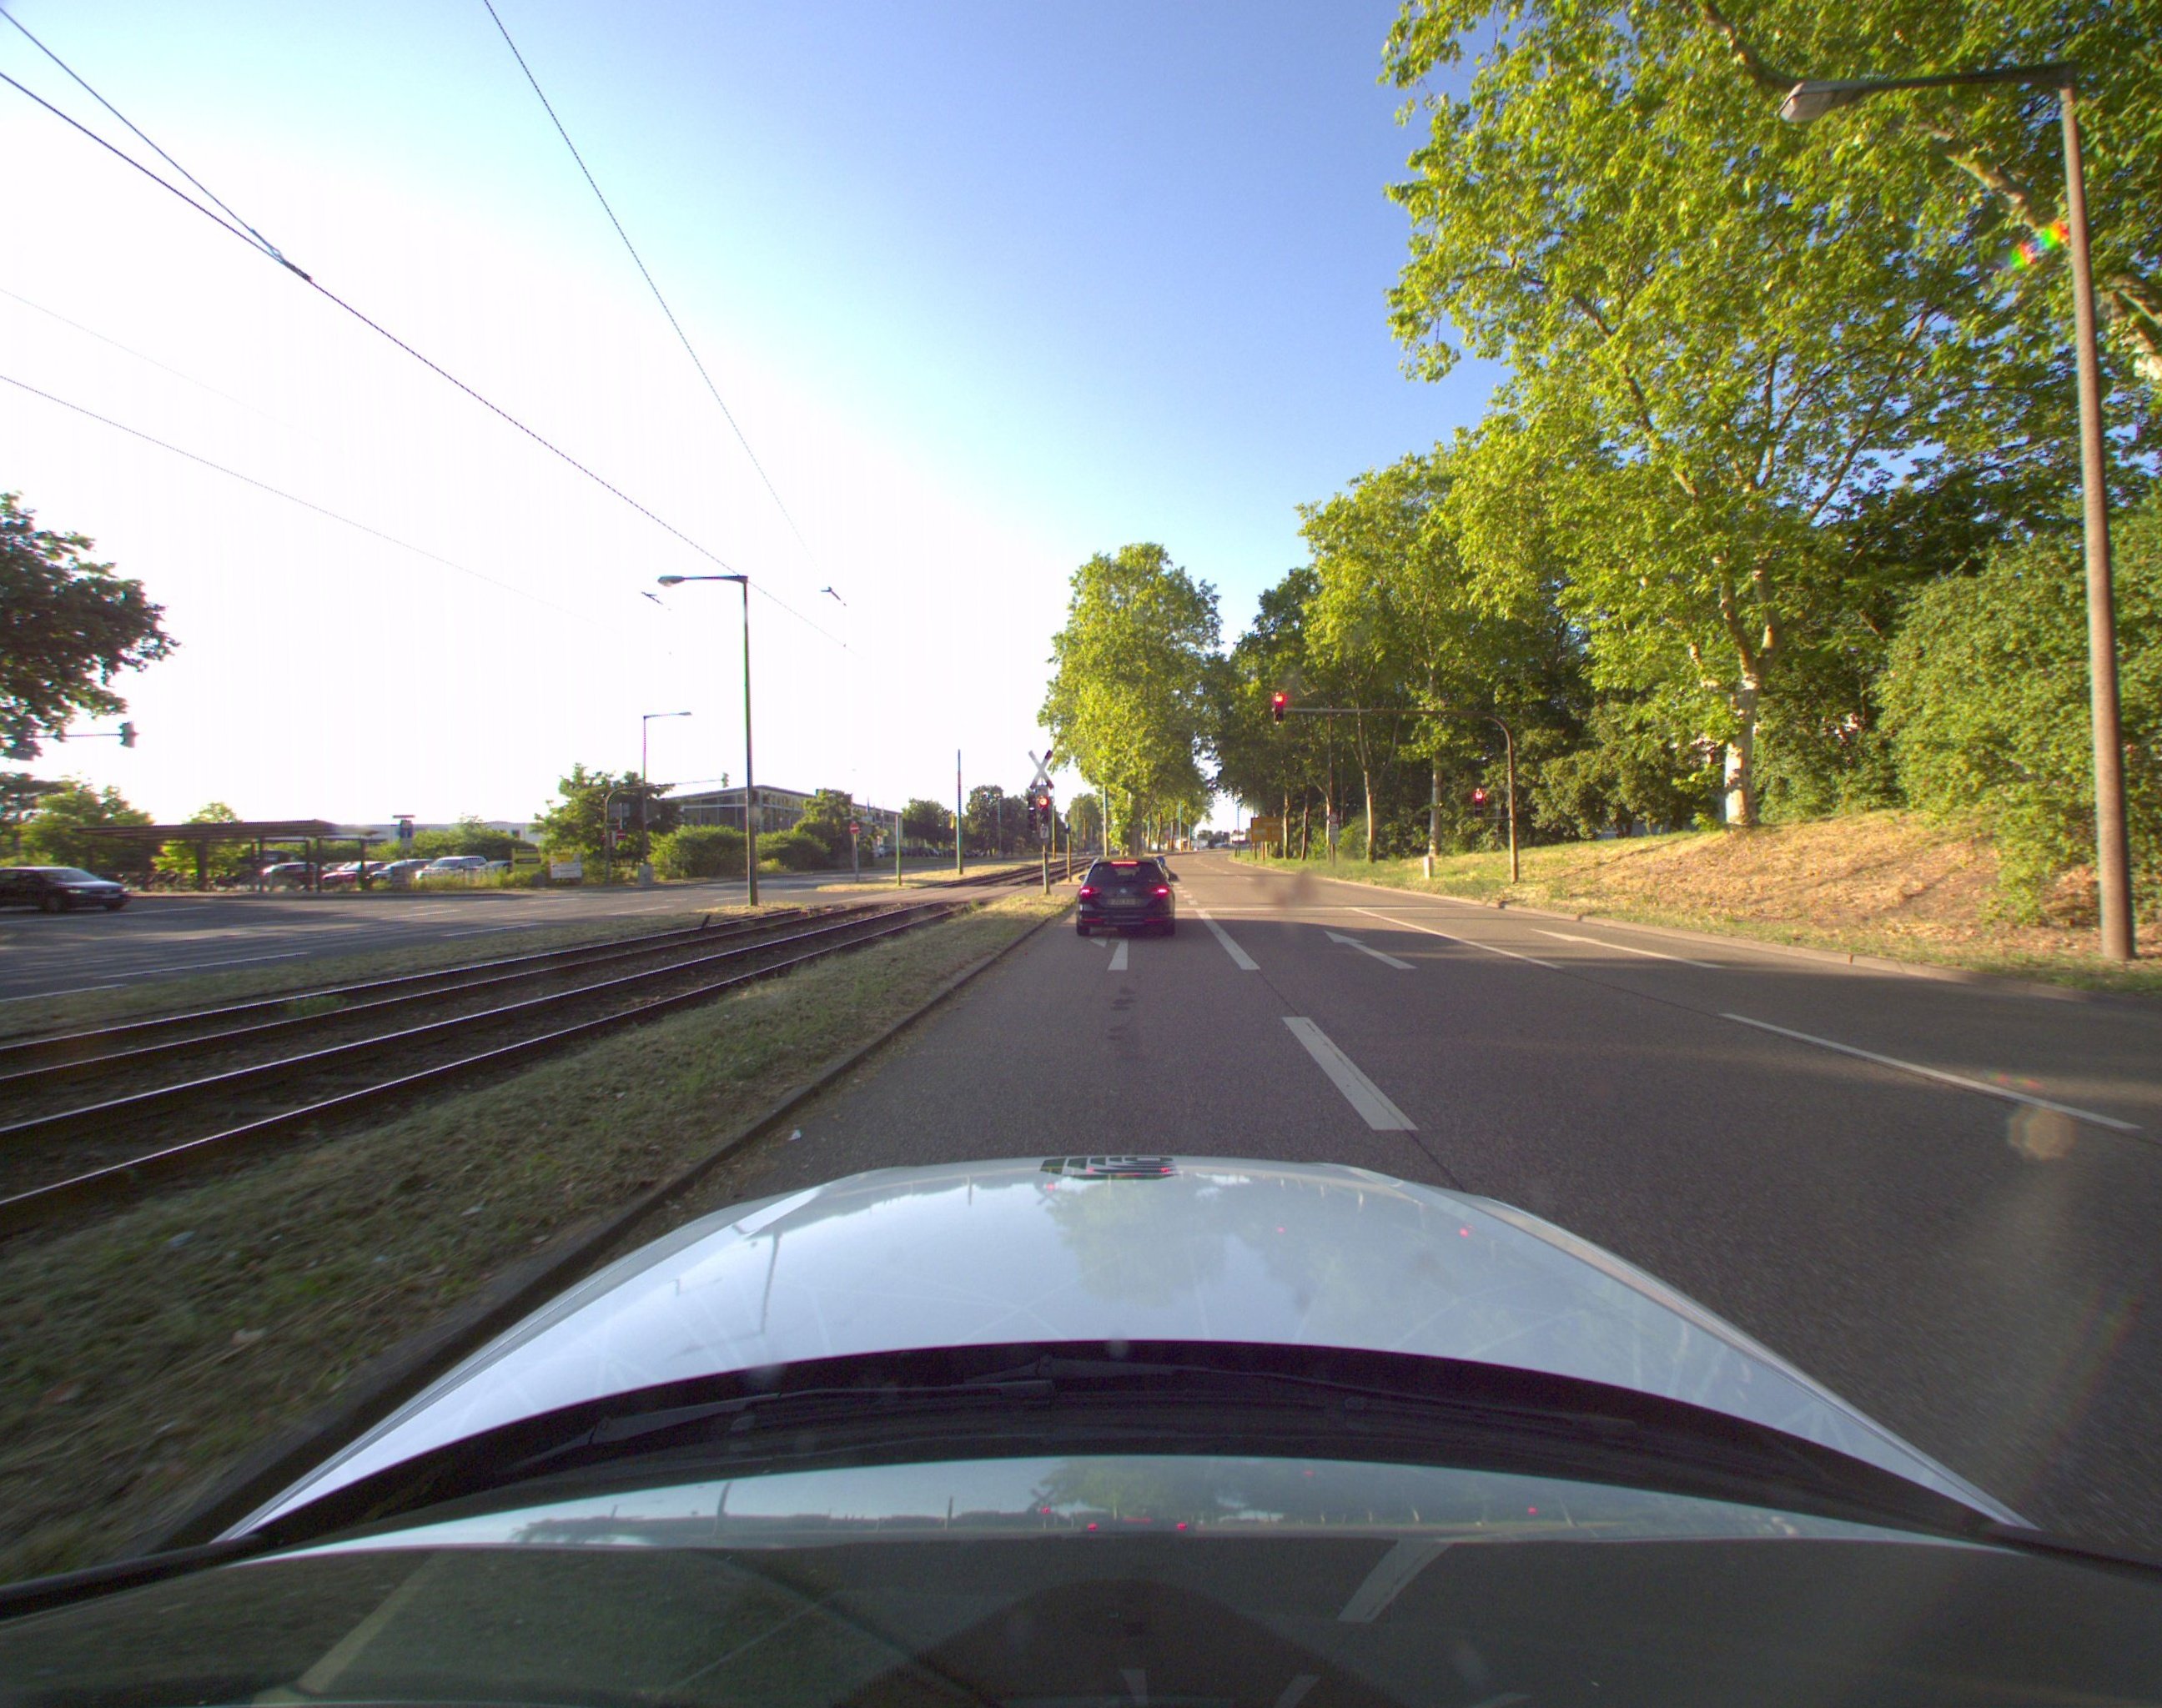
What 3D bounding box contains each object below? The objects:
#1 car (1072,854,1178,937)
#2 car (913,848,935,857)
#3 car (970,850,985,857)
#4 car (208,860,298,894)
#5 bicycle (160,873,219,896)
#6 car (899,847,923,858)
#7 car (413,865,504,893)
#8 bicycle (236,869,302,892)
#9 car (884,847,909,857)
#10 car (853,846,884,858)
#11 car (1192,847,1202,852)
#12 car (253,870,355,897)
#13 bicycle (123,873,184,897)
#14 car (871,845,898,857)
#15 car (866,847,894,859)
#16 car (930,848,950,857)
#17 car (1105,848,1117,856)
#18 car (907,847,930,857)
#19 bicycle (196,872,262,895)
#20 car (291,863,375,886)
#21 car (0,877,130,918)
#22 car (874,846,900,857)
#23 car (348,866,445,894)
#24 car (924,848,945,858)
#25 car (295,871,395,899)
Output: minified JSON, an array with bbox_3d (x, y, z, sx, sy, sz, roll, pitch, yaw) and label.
[{"bbox_3d":[0.927,0.714,15.720,1.783,1.403,3.695,-1,0,6],"label":"car"},{"bbox_3d":[-25.075,-0.220,130.030,3.131,1.490,1.456,-1,0,1],"label":"car"},{"bbox_3d":[-22.725,-0.025,178.493,3.131,1.490,1.456,-1,0,1],"label":"car"},{"bbox_3d":[-56.745,1.542,55.888,1.831,2.242,4.008,-1,0,7],"label":"car"},{"bbox_3d":[-44.790,1.495,40.948,0.665,1.065,2.188,-1,0,-5],"label":"bicycle"},{"bbox_3d":[-25.222,-0.236,120.867,3.131,1.490,1.456,-1,0,1],"label":"car"},{"bbox_3d":[-35.630,1.397,46.724,1.831,1.442,4.008,-1,0,7],"label":"car"},{"bbox_3d":[-40.098,1.313,40.258,0.660,1.065,2.204,-1,0,22],"label":"bicycle"},{"bbox_3d":[-26.507,-0.307,116.979,3.131,1.490,1.456,-1,0,1],"label":"car"},{"bbox_3d":[-24.452,-0.250,93.590,3.131,1.391,1.456,-1,0,1],"label":"car"},{"bbox_3d":[34.861,-1.379,245.013,1.461,1.490,3.119,-1,0,-34],"label":"car"},{"bbox_3d":[-45.217,1.701,47.518,1.831,1.442,4.008,-1,0,7],"label":"car"},{"bbox_3d":[-45.944,1.515,40.379,0.665,1.065,2.188,-1,0,-5],"label":"bicycle"},{"bbox_3d":[-26.341,-0.373,109.219,3.131,1.490,1.456,-1,0,1],"label":"car"},{"bbox_3d":[-25.889,-0.159,104.931,3.131,1.490,1.456,-1,0,1],"label":"car"},{"bbox_3d":[-23.628,-0.200,136.424,3.131,1.490,1.456,-1,0,1],"label":"car"},{"bbox_3d":[5.487,-0.395,148.022,1.440,1.490,3.166,-1,0,16],"label":"car"},{"bbox_3d":[-25.289,-0.318,126.713,3.131,1.490,1.456,-1,0,1],"label":"car"},{"bbox_3d":[-42.863,1.476,41.011,0.659,1.065,2.206,-1,0,35],"label":"bicycle"},{"bbox_3d":[-51.322,1.396,55.998,1.831,1.442,4.008,-1,0,7],"label":"car"},{"bbox_3d":[-38.014,1.593,30.176,4.029,1.387,1.789,-1,0,10],"label":"car"},{"bbox_3d":[-26.560,-0.305,111.592,3.131,1.490,1.456,-1,0,1],"label":"car"},{"bbox_3d":[-38.935,1.460,46.469,1.831,1.442,4.008,-1,0,7],"label":"car"},{"bbox_3d":[-23.982,-0.161,133.145,3.131,1.490,1.456,-1,0,1],"label":"car"},{"bbox_3d":[-42.238,1.766,46.849,1.831,1.442,4.008,-1,0,7],"label":"car"}]
